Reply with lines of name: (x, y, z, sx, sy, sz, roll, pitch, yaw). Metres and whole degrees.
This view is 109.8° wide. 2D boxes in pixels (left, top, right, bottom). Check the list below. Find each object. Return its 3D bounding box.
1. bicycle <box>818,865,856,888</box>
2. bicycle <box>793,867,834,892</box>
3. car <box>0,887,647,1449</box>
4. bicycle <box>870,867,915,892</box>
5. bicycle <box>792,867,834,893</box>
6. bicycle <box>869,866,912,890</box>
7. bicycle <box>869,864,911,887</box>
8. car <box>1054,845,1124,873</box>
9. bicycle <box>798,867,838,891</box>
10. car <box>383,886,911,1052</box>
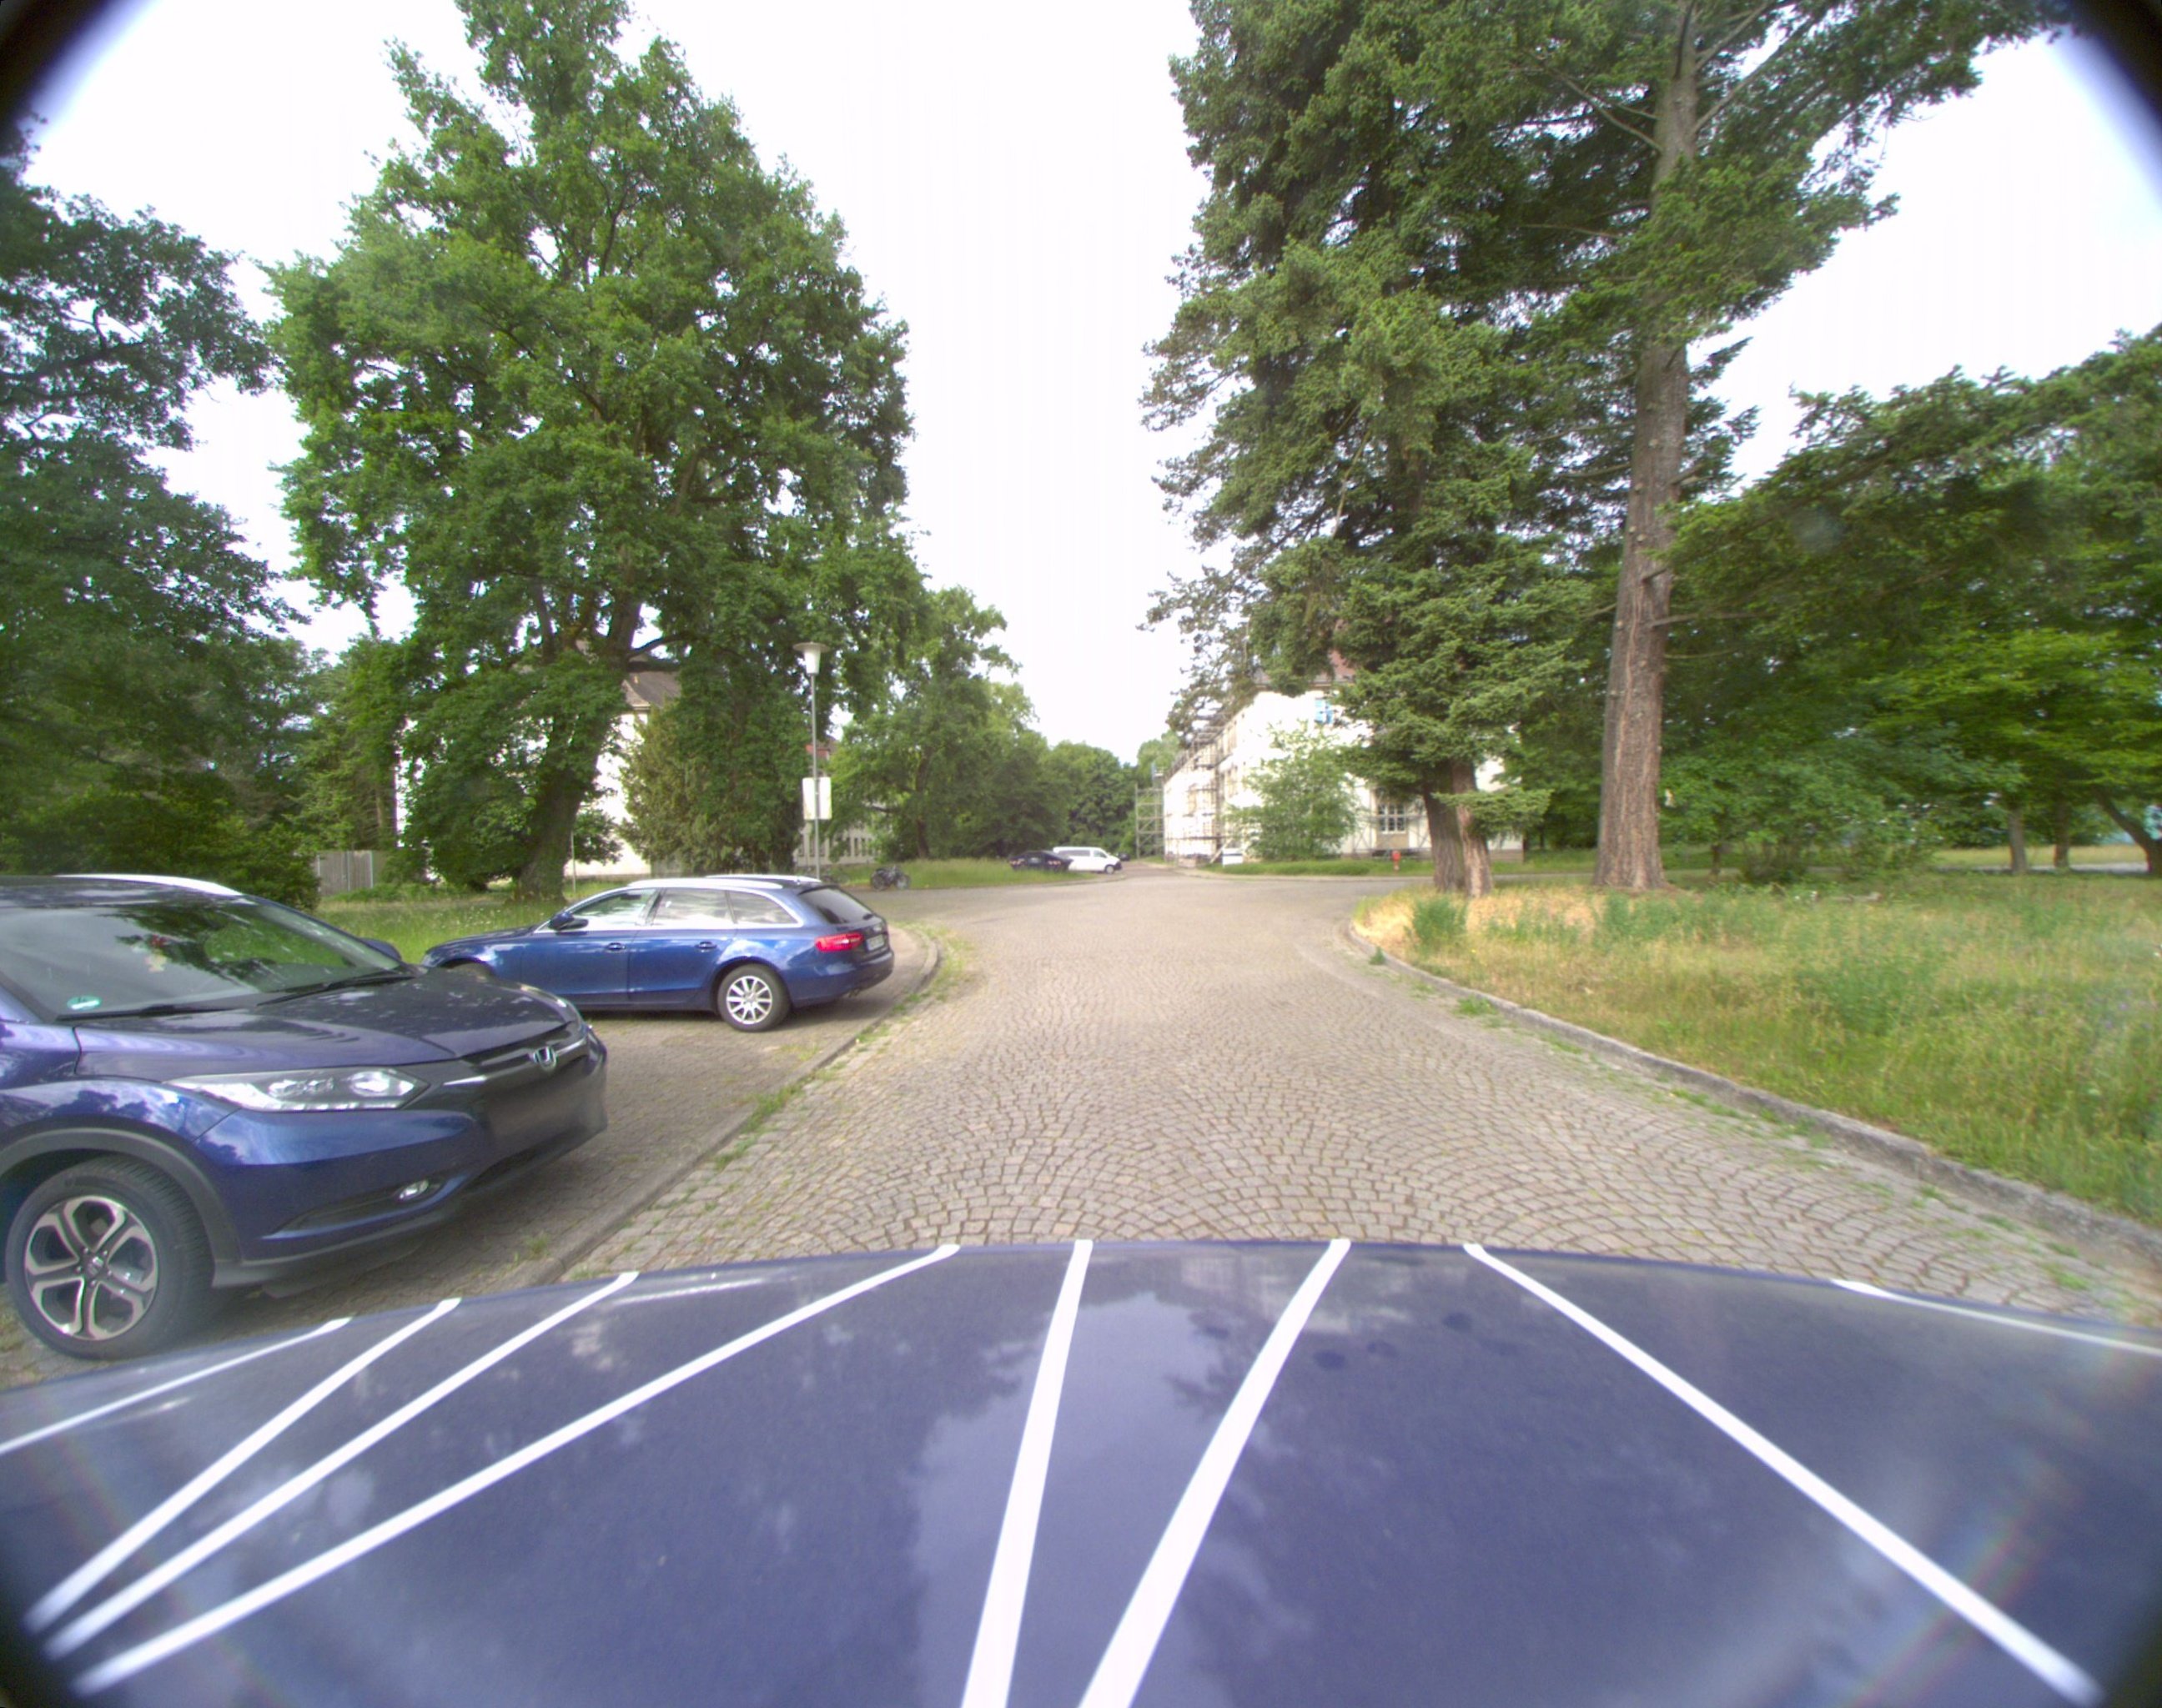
bicycle: (-13.266, 1.211, 41.258, 1.859, 1.116, 0.620, -3, 1, -22)
bicycle: (-13.158, 1.260, 37.378, 1.859, 1.116, 0.620, -3, 1, -22)
car: (-4.452, 1.029, 3.182, 4.172, 1.563, 1.793, -2, 2, 1)
bicycle: (-9.057, 1.207, 36.496, 1.976, 1.070, 0.587, -3, 1, -26)
bicycle: (-12.964, 1.258, 36.766, 1.859, 1.116, 0.620, -3, 1, -22)
bicycle: (-9.555, 1.177, 38.082, 1.976, 1.070, 0.587, -3, 1, -26)
bicycle: (-10.108, 1.129, 40.193, 2.032, 1.070, 0.620, -3, 1, -22)
car: (0.596, 0.336, 56.672, 5.100, 2.007, 2.054, -1, 1, 0)
bicycle: (-13.497, 1.256, 39.041, 1.859, 1.116, 0.620, -3, 1, -22)
car: (-4.240, 1.094, 7.879, 4.480, 1.413, 1.785, 0, 1, 4)
